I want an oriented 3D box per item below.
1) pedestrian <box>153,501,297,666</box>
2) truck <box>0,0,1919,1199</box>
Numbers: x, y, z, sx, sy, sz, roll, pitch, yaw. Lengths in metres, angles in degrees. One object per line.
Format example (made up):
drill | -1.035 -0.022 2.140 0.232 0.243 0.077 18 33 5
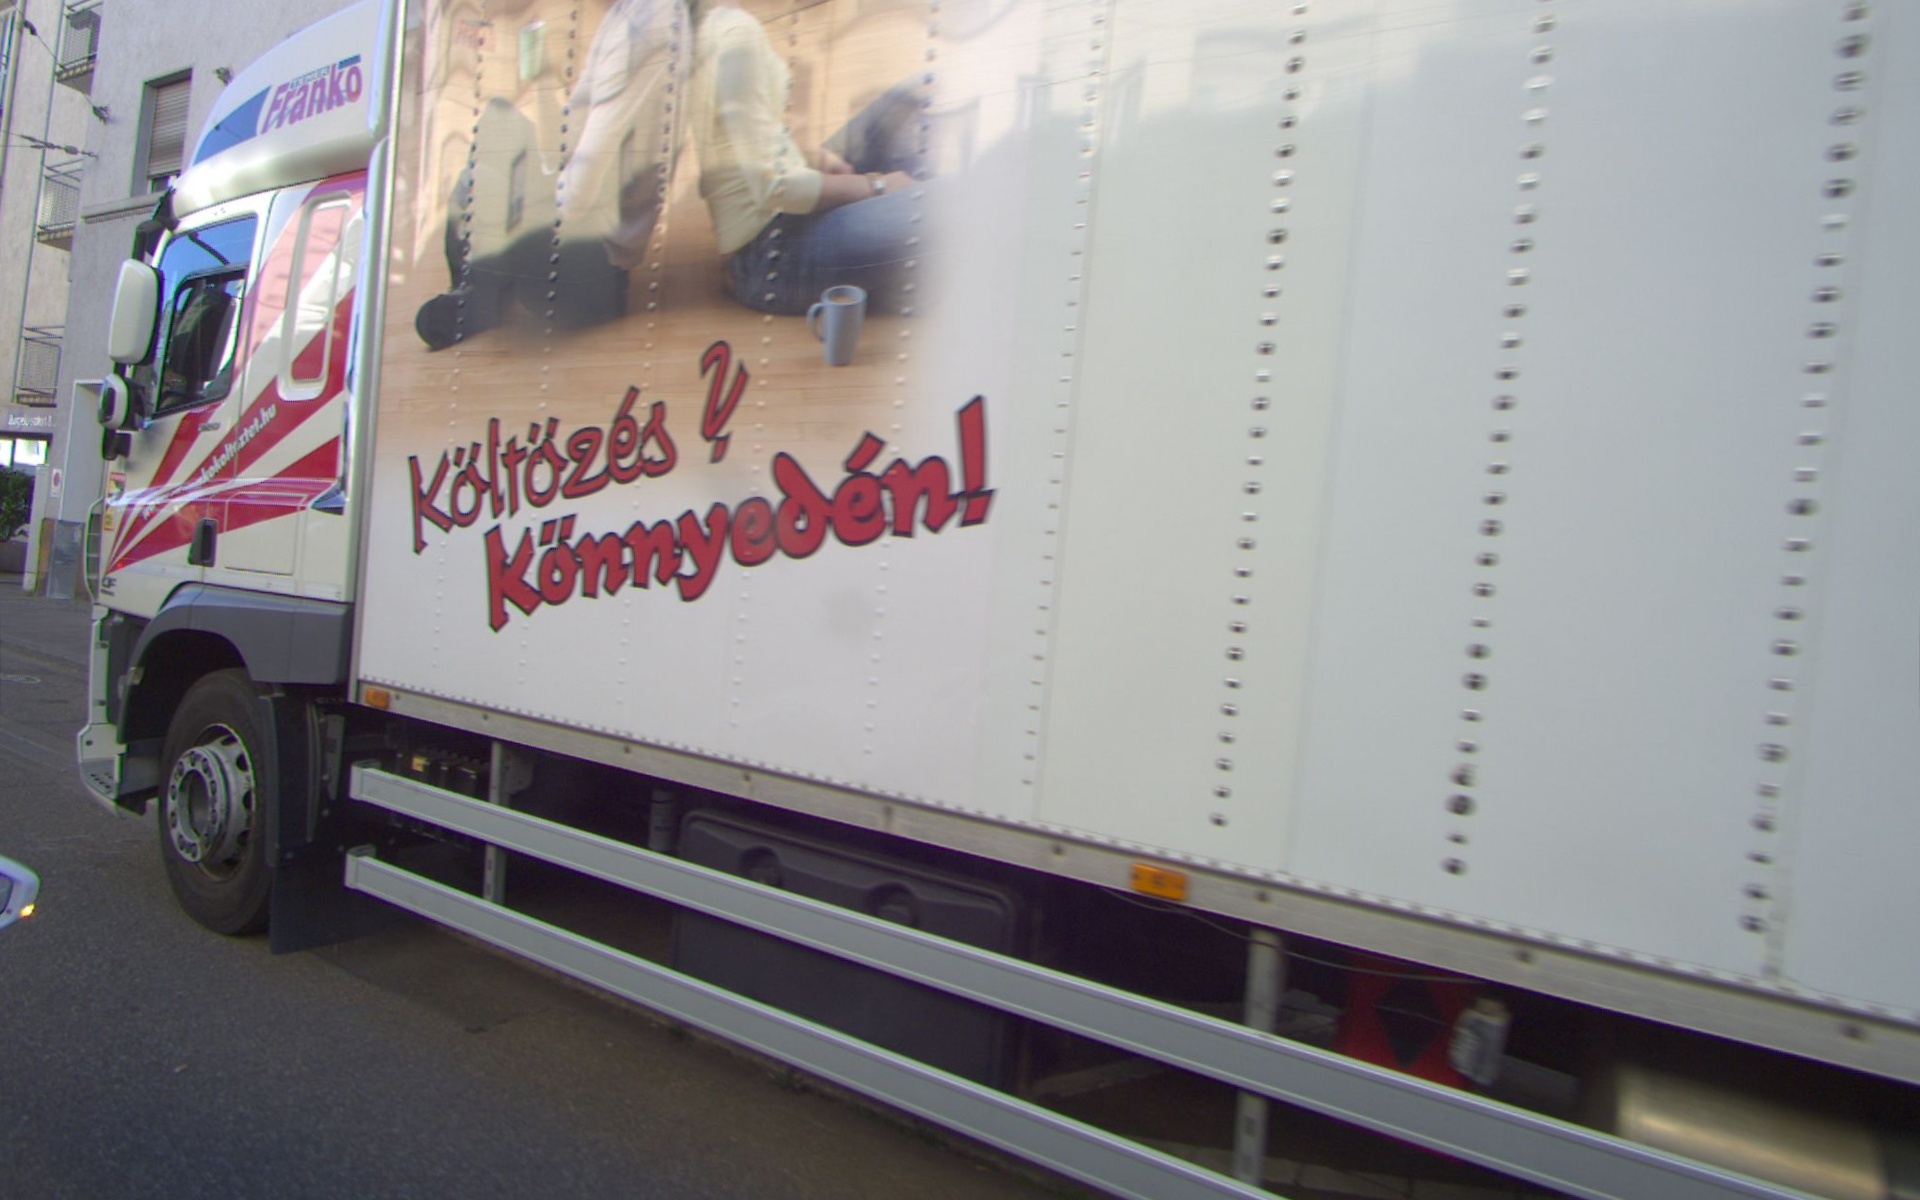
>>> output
pedestrian | -7.482 -0.161 10.253 0.854 1.554 0.826 7 2 30
truck | 1.704 -0.328 2.635 11.576 4.123 2.865 7 0 29
